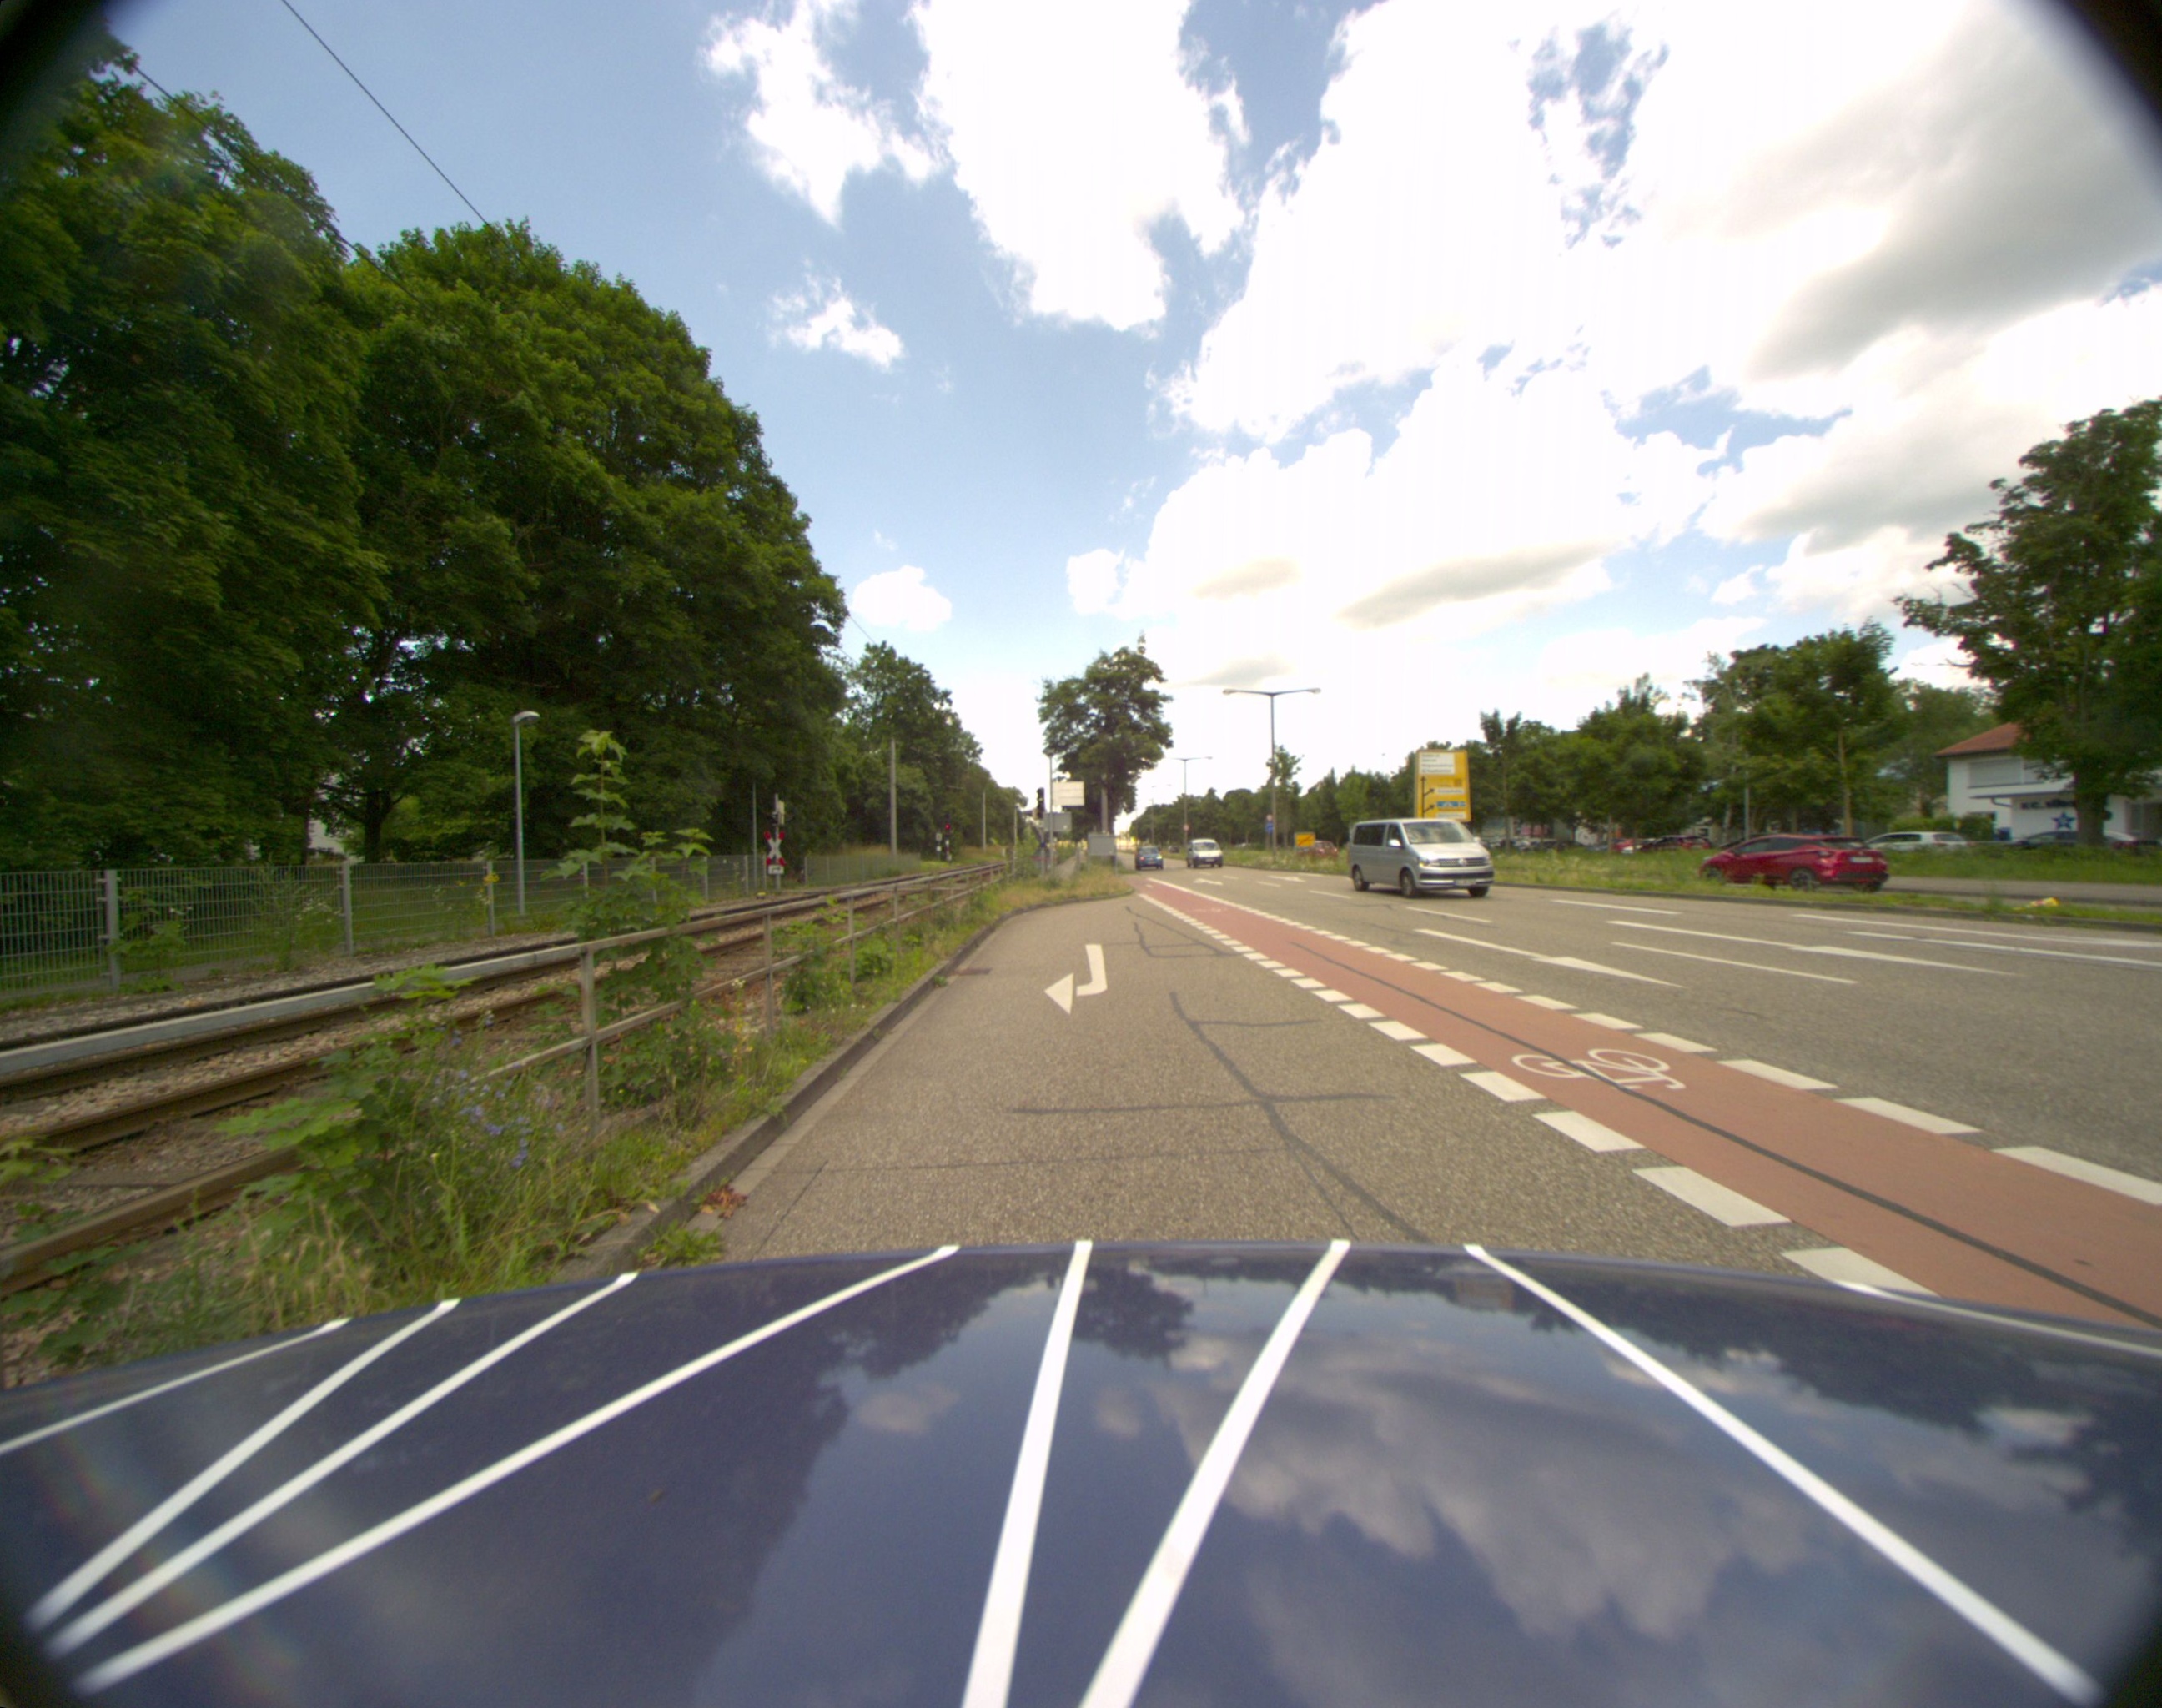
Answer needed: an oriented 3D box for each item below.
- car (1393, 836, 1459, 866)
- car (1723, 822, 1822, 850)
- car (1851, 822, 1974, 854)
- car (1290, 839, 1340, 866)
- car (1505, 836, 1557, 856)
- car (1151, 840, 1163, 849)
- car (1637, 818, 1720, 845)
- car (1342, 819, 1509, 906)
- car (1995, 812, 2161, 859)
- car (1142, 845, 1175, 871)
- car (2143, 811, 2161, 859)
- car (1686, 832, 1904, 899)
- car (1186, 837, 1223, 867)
[{"bbox_3d":[17.742,-0.169,39.221,1.616,1.437,3.592,-2,1,-2],"label":"car"},{"bbox_3d":[36.432,-0.946,40.174,1.729,1.403,3.865,-1,1,1],"label":"car"},{"bbox_3d":[36.483,-0.679,33.477,1.625,1.324,3.476,-1,1,1],"label":"car"},{"bbox_3d":[14.735,-0.135,48.111,1.998,1.608,3.999,-1,1,1],"label":"car"},{"bbox_3d":[37.385,-0.638,63.190,1.998,1.578,4.022,-1,1,1],"label":"car"},{"bbox_3d":[13.381,-1.676,133.561,1.686,1.438,3.692,-1,1,-1],"label":"car"},{"bbox_3d":[36.495,-1.332,46.538,1.998,1.578,4.022,-1,1,1],"label":"car"},{"bbox_3d":[8.542,0.141,19.485,1.818,1.907,5.230,-1,1,-1],"label":"car"},{"bbox_3d":[36.709,-0.664,27.771,1.762,1.578,4.022,-1,1,1],"label":"car"},{"bbox_3d":[4.426,0.204,43.932,1.604,1.456,3.703,0,1,1],"label":"car"},{"bbox_3d":[36.755,-0.618,23.765,1.921,1.578,3.666,-1,1,1],"label":"car"},{"bbox_3d":[18.448,0.230,19.937,1.892,1.503,3.998,-2,1,-2],"label":"car"},{"bbox_3d":[7.761,-0.139,47.993,1.747,1.775,4.156,-2,1,2],"label":"car"}]
